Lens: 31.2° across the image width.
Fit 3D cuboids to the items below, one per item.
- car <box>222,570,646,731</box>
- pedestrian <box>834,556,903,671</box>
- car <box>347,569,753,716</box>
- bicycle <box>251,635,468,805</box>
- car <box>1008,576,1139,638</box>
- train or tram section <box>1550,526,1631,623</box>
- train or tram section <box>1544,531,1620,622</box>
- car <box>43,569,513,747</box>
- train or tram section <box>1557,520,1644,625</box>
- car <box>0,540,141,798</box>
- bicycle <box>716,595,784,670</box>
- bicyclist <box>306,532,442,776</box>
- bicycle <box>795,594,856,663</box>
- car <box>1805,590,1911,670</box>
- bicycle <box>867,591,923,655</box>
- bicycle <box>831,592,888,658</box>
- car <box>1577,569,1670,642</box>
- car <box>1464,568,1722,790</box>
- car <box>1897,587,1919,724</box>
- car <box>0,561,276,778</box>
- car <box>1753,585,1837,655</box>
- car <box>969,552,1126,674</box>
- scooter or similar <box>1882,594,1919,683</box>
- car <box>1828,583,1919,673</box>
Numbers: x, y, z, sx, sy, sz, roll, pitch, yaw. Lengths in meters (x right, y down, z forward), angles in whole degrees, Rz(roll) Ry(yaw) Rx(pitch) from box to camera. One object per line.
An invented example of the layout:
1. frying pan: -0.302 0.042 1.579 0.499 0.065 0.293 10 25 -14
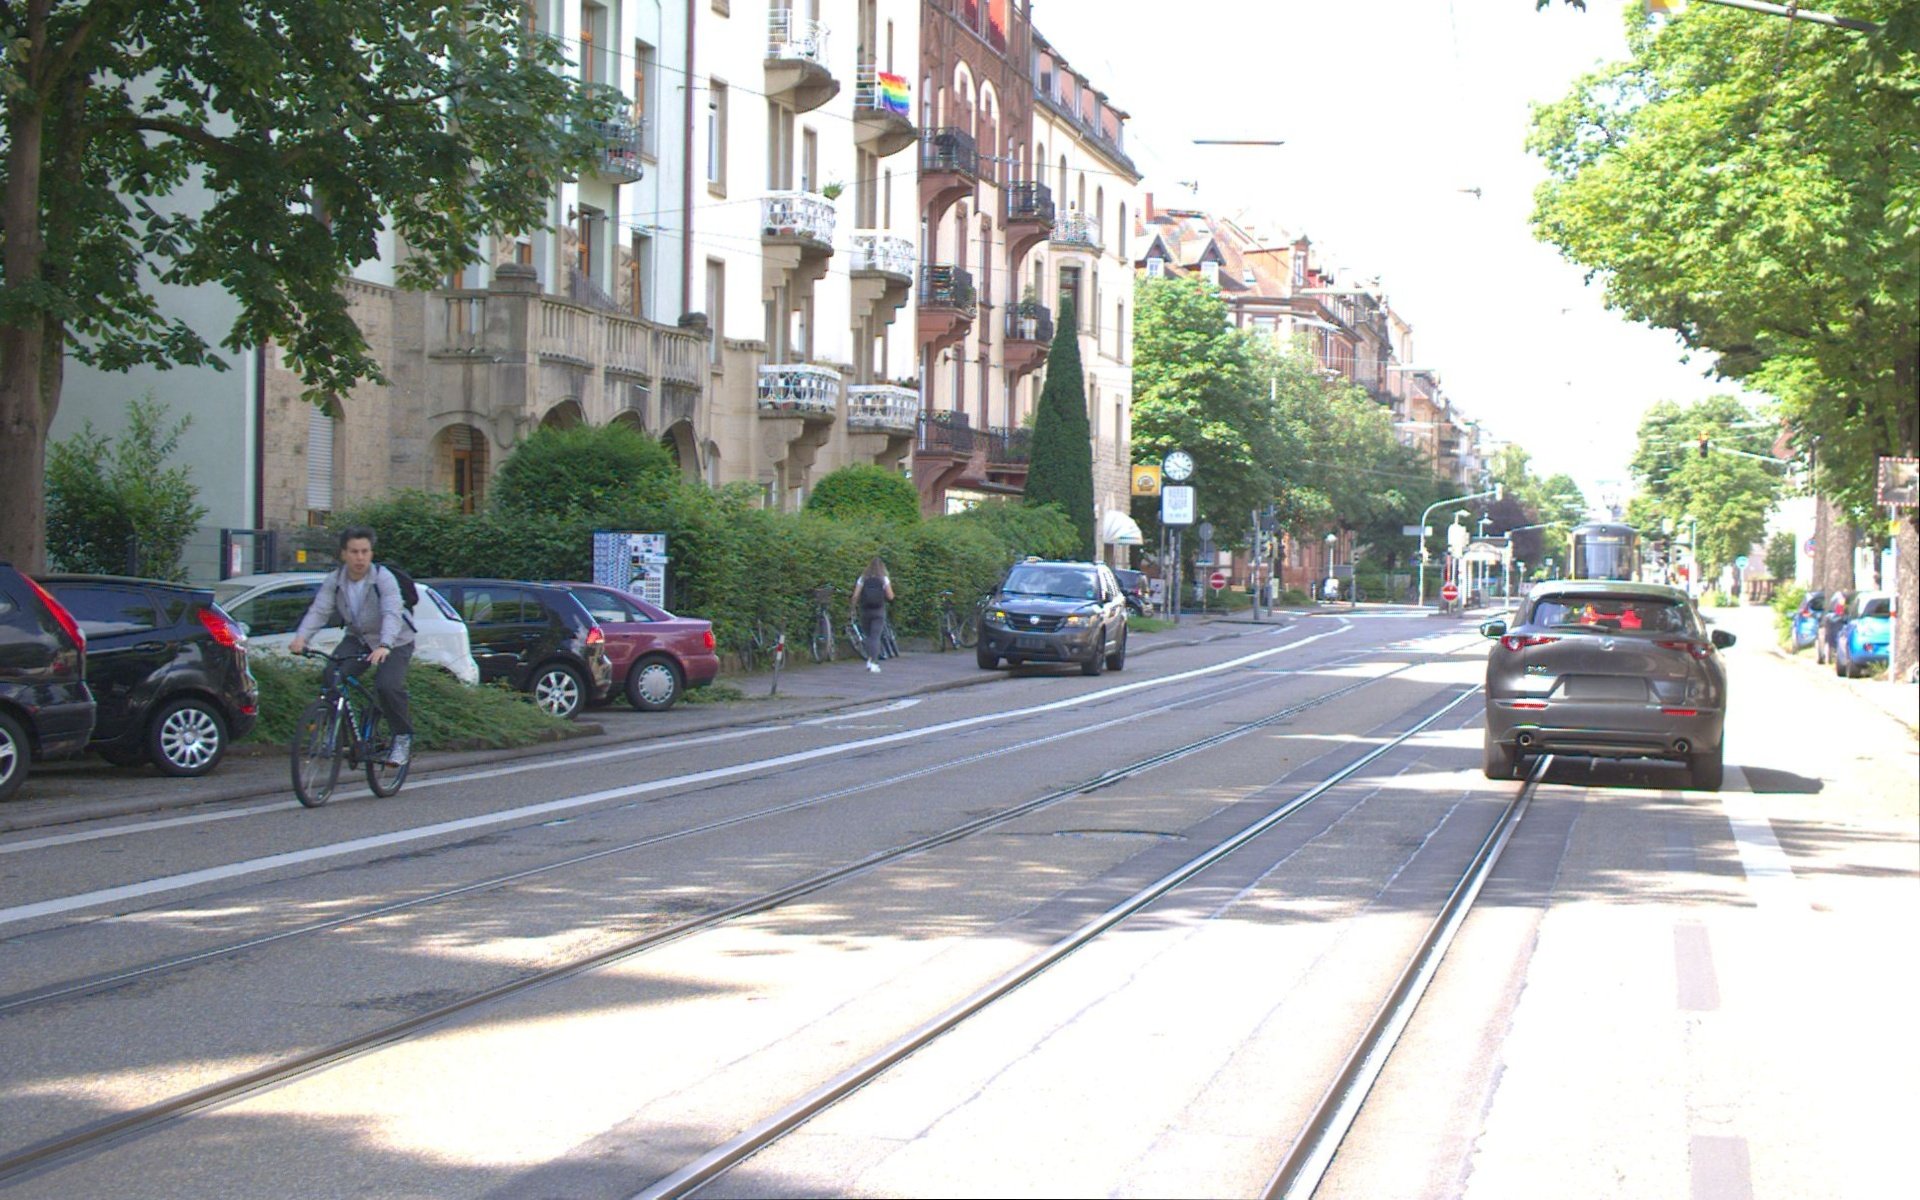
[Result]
1. car: -5.224 0.473 34.211 3.794 1.479 1.698 -1 0 -28
2. pedestrian: -1.284 0.187 48.326 0.680 1.563 0.881 3 1 13
3. car: -4.443 0.434 37.420 3.957 1.479 1.846 -1 0 -32
4. bicycle: -3.894 0.760 22.449 0.655 1.037 1.999 1 0 13
5. car: 3.121 0.182 94.203 3.239 1.508 1.677 3 1 15
6. train or tram section: 23.629 -0.919 129.103 2.653 3.516 8.493 1 0 8
7. train or tram section: 24.837 -0.910 137.502 2.653 3.516 8.493 1 0 8
8. car: -6.161 0.489 31.155 3.795 1.479 1.697 -1 0 -34
9. train or tram section: 22.426 -0.930 120.691 2.653 3.516 8.493 1 0 8
10. car: -7.351 0.456 21.439 3.987 1.587 1.741 -1 0 -33
11. bicycle: -2.818 0.433 46.249 0.383 0.956 1.809 3 1 13
12. bicyclist: -3.839 0.347 22.546 0.641 1.571 0.741 1 0 11
13. bicycle: -1.946 0.410 50.022 0.383 0.956 1.809 3 1 13
14. car: 17.369 0.565 66.598 1.640 1.491 3.756 0 0 9
15. bicycle: -1.016 0.356 54.147 0.383 0.956 1.920 3 1 13
16. bicycle: -1.515 0.374 52.068 0.383 0.956 1.809 3 1 13
17. car: 14.418 0.091 74.876 1.785 1.487 4.881 1 1 9
18. car: 4.999 0.553 27.246 1.790 1.507 4.349 2 1 10
19. car: 12.110 0.641 40.492 1.697 1.585 4.201 0 0 10
20. car: -7.091 0.496 24.477 3.987 1.479 1.741 -1 0 -31
21. car: 18.578 0.430 76.595 1.624 1.491 3.846 -1 0 11
22. car: 1.395 0.163 52.855 1.785 1.756 4.881 1 1 9
23. scooter or similar: 14.507 0.580 52.036 0.440 1.295 1.183 -2 2 -19
24. car: 15.845 0.457 58.827 1.640 1.491 3.625 0 0 10
